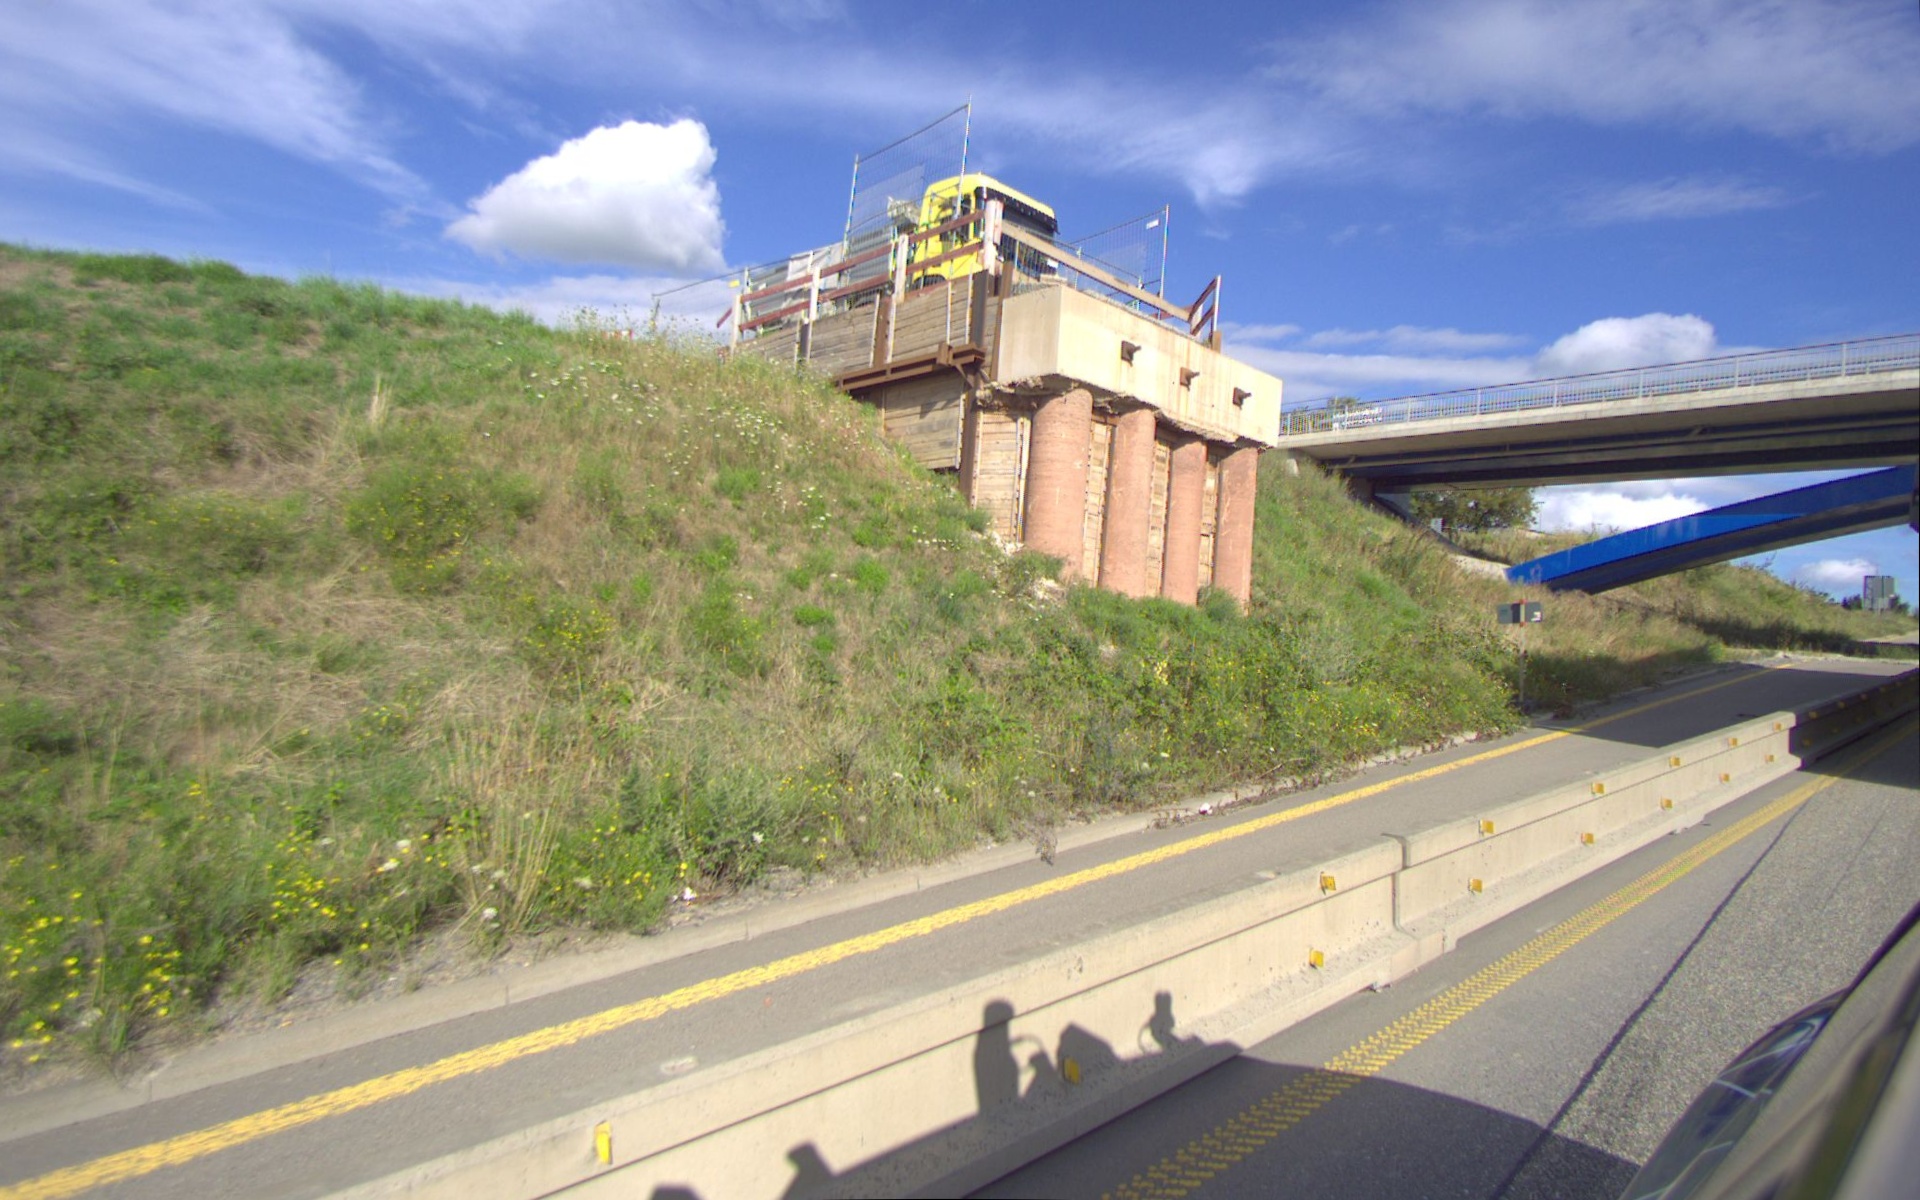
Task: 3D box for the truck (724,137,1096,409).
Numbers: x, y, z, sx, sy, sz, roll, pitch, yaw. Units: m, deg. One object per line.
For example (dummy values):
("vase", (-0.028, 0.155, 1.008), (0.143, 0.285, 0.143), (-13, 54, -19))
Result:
("truck", (-1.544, -6.571, 22.166), (2.909, 3.268, 9.276), (1, 1, -42))
